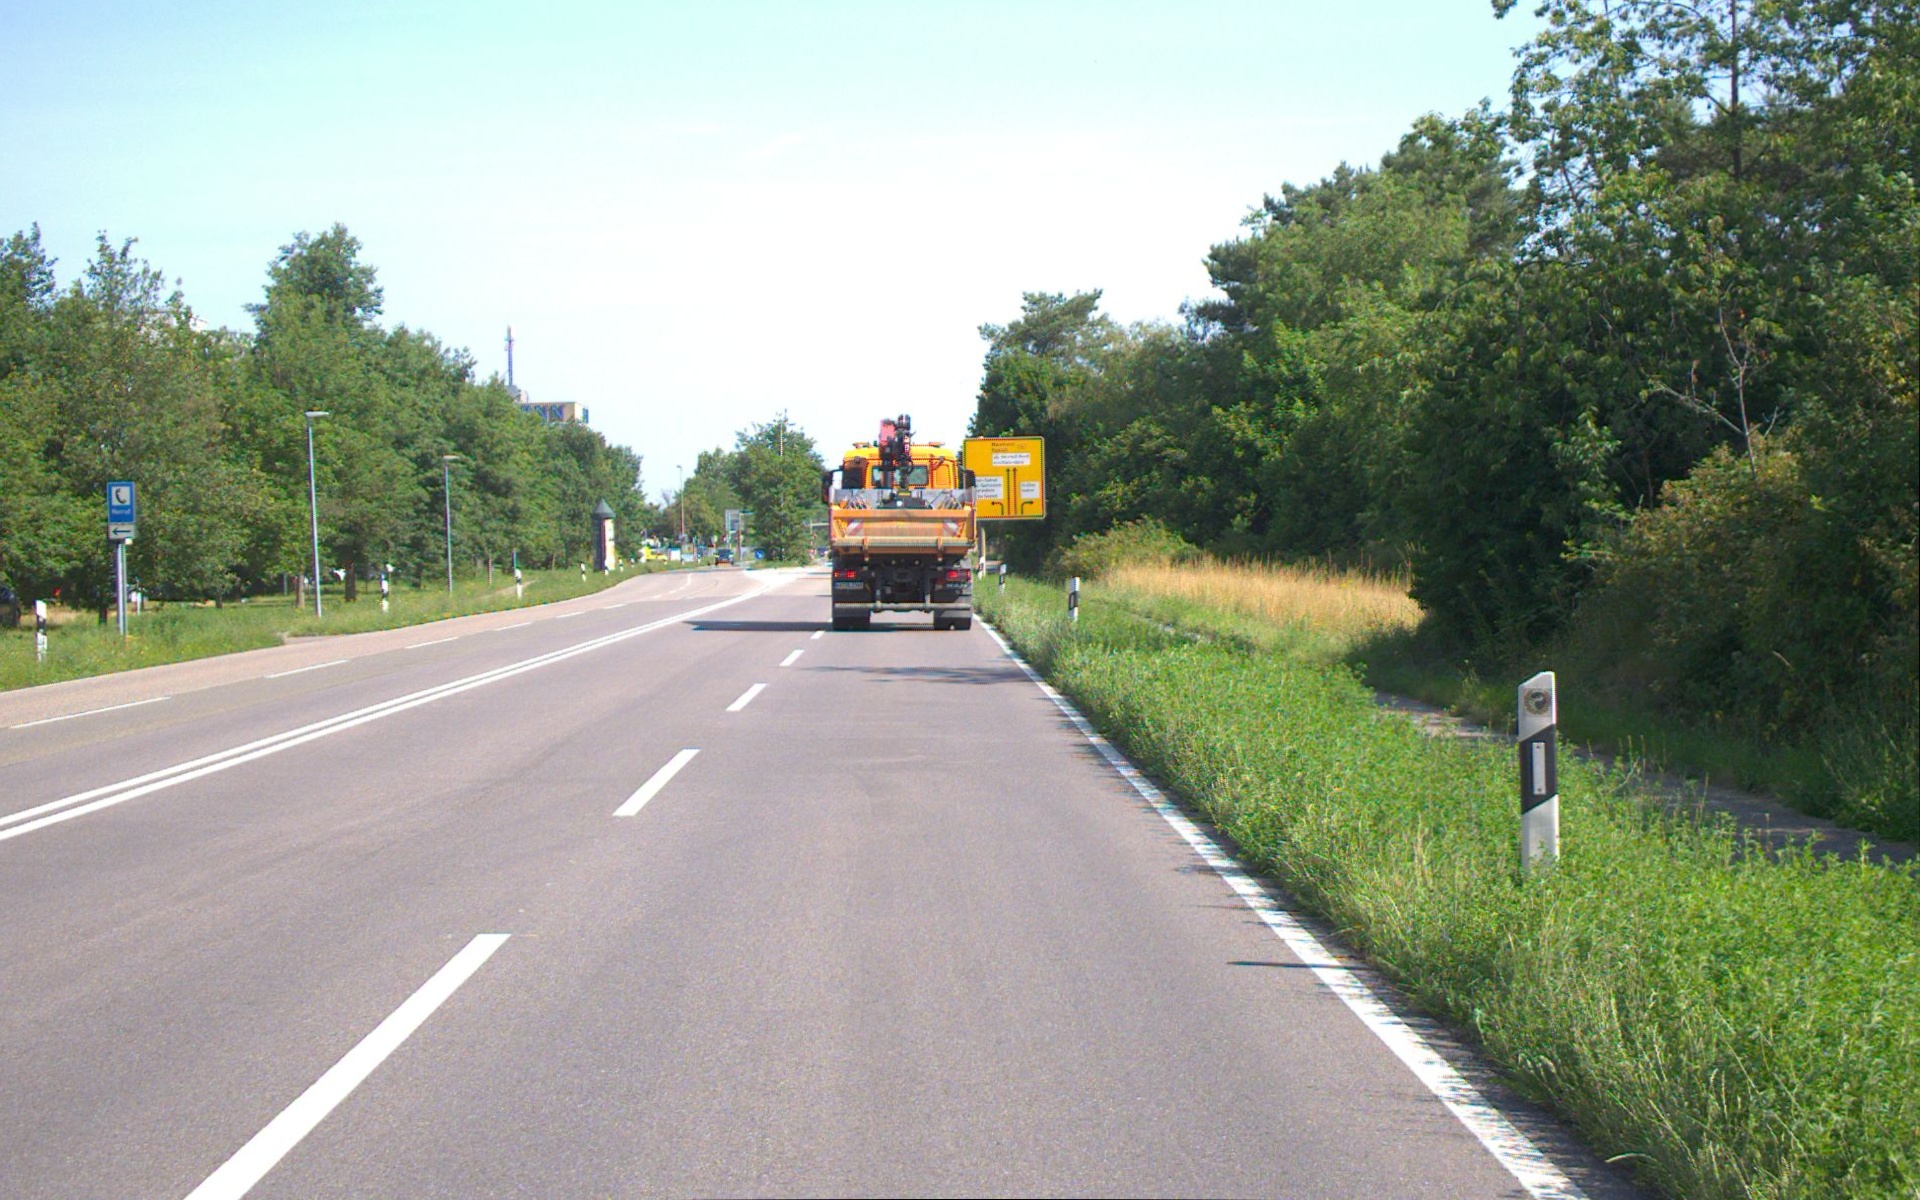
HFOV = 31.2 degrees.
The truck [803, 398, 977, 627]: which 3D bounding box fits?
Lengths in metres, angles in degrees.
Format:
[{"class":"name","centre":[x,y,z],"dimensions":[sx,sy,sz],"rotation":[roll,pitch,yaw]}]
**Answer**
[{"class":"truck","centre":[-1.373,-1.564,62.620],"dimensions":[2.871,3.867,7.401],"rotation":[1,1,-3]}]

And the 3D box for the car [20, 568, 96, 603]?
[{"class":"car","centre":[-40.169,-0.647,153.233],"dimensions":[1.993,1.432,4.955],"rotation":[-1,1,1]}]
